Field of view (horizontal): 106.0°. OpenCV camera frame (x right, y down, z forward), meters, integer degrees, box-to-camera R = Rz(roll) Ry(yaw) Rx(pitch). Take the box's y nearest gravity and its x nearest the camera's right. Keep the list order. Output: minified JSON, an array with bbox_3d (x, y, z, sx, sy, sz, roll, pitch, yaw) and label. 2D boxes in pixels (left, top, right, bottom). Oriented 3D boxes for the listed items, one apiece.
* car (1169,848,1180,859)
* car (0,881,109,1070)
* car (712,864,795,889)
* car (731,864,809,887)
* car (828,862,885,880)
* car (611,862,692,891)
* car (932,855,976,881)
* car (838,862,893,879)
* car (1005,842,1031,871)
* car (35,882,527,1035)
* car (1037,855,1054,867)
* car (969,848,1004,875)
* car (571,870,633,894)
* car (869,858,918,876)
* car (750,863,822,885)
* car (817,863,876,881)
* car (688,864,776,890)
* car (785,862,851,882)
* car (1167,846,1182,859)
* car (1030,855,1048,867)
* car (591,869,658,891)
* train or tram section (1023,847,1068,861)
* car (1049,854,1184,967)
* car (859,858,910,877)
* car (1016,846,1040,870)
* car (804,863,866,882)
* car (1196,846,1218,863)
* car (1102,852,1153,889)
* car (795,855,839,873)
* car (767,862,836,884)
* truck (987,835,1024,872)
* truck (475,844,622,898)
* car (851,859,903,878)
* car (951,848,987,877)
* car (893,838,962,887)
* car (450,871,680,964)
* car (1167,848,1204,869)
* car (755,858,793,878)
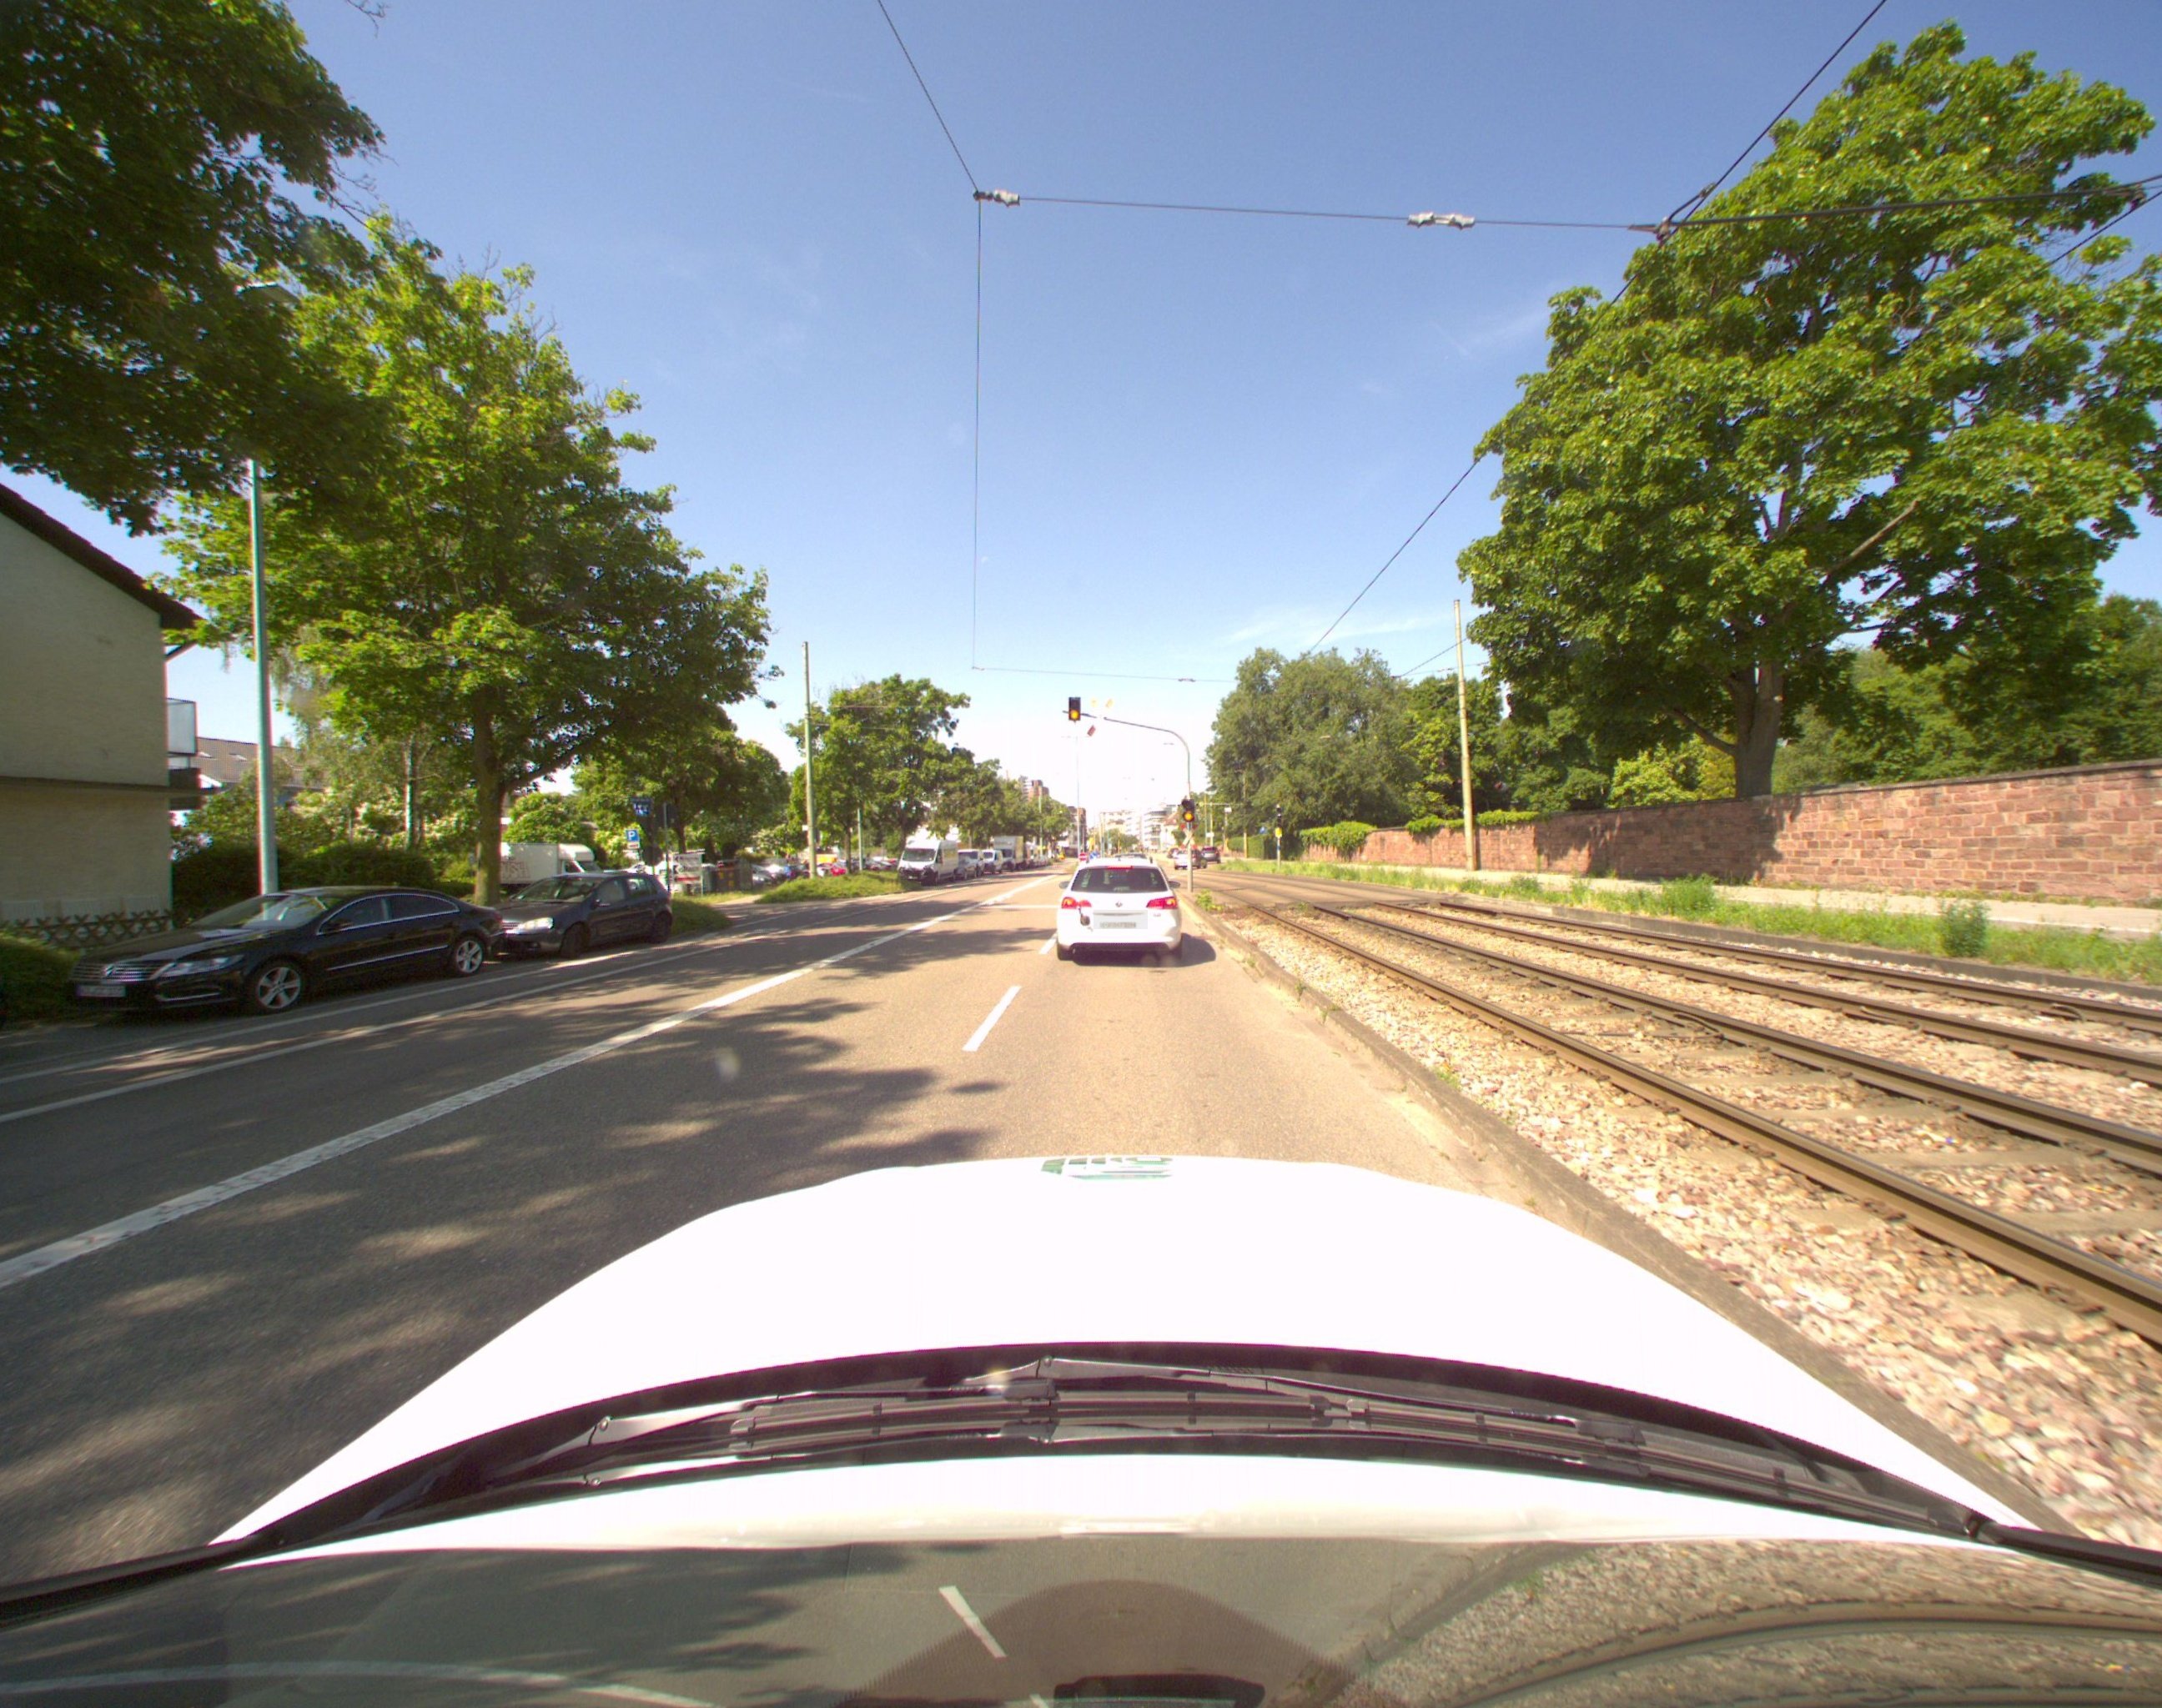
[{"bbox_3d":[16.806,-0.080,146.948,1.684,1.812,3.456,0,-1,3],"label":"car"},{"bbox_3d":[-10.280,1.085,5.352,1.755,1.606,4.897,-1,0,3],"label":"car"},{"bbox_3d":[-18.728,1.264,46.742,3.973,1.225,1.772,-2,0,1],"label":"car"},{"bbox_3d":[-18.873,1.297,49.480,3.968,1.225,1.774,-2,0,5],"label":"car"},{"bbox_3d":[-18.008,1.358,65.282,3.968,1.225,1.774,-2,0,5],"label":"car"},{"bbox_3d":[-30.662,1.589,58.279,4.681,2.014,1.998,0,-1,-3],"label":"car"},{"bbox_3d":[-7.991,0.851,51.628,1.836,1.516,4.200,-2,0,3],"label":"car"},{"bbox_3d":[-17.780,1.344,67.395,3.968,1.225,1.774,-2,0,5],"label":"car"},{"bbox_3d":[-6.239,0.241,81.151,1.836,2.668,5.008,-2,0,3],"label":"car"},{"bbox_3d":[-9.961,1.166,10.869,1.683,1.379,4.785,0,0,3],"label":"car"},{"bbox_3d":[-4.763,0.928,109.580,1.773,1.433,4.041,-2,0,3],"label":"car"},{"bbox_3d":[-7.498,0.560,65.062,1.836,1.960,5.138,-2,0,3],"label":"car"},{"bbox_3d":[-31.265,1.791,53.188,3.117,1.432,1.560,1,1,6],"label":"car"},{"bbox_3d":[-17.232,1.179,75.070,3.968,1.444,1.774,-2,0,5],"label":"car"},{"bbox_3d":[-19.053,1.301,52.681,3.968,1.225,1.774,-2,0,5],"label":"car"},{"bbox_3d":[-18.114,1.378,62.949,3.968,1.225,1.774,-2,0,5],"label":"car"},{"bbox_3d":[-18.876,1.238,44.172,3.973,1.225,1.772,-2,0,1],"label":"car"},{"bbox_3d":[-18.683,1.282,57.929,3.968,1.264,1.774,-2,0,5],"label":"car"},{"bbox_3d":[17.783,-0.292,155.788,2.453,2.499,5.914,0,0,3],"label":"car"},{"bbox_3d":[-5.353,0.853,104.576,1.836,1.433,4.041,-2,0,3],"label":"car"},{"bbox_3d":[-31.321,1.799,55.884,3.753,1.356,1.560,1,1,6],"label":"car"},{"bbox_3d":[-8.491,0.001,192.578,11.129,3.253,2.323,0,-1,31],"label":"train or tram section"},{"bbox_3d":[0.537,0.737,12.592,1.761,1.446,3.915,0,0,2],"label":"car"},{"bbox_3d":[-17.442,1.200,72.529,3.968,1.444,1.774,-2,0,5],"label":"car"},{"bbox_3d":[-5.755,0.396,88.940,1.836,2.494,5.862,-2,0,3],"label":"car"},{"bbox_3d":[-18.194,1.348,60.372,3.968,1.225,1.774,-2,0,5],"label":"car"},{"bbox_3d":[11.753,0.043,76.053,1.851,1.513,3.921,0,0,7],"label":"car"},{"bbox_3d":[1.907,0.608,32.534,1.736,1.388,3.921,0,0,7],"label":"car"},{"bbox_3d":[-29.500,1.130,91.031,4.247,2.014,1.998,0,-1,-4],"label":"car"},{"bbox_3d":[-18.969,1.291,55.312,3.968,1.350,1.774,-2,0,5],"label":"car"},{"bbox_3d":[-6.806,-0.068,73.830,2.347,3.122,6.895,-2,0,2],"label":"truck"},{"bbox_3d":[-31.349,0.989,48.073,7.117,3.019,2.232,1,0,0],"label":"truck"},{"bbox_3d":[-17.528,1.229,70.026,3.968,1.402,1.774,-2,0,5],"label":"car"},{"bbox_3d":[-7.960,0.592,58.324,1.838,1.937,5.191,-2,0,-1],"label":"car"},{"bbox_3d":[-8.465,0.414,45.583,2.048,2.501,6.317,1,0,5],"label":"car"},{"bbox_3d":[-9.614,1.106,15.607,1.634,1.450,4.008,0,0,4],"label":"car"},{"bbox_3d":[7.561,0.312,58.773,1.846,1.416,4.345,0,0,18],"label":"car"},{"bbox_3d":[-32.434,1.481,86.067,3.411,1.876,1.553,-2,0,1],"label":"car"}]
